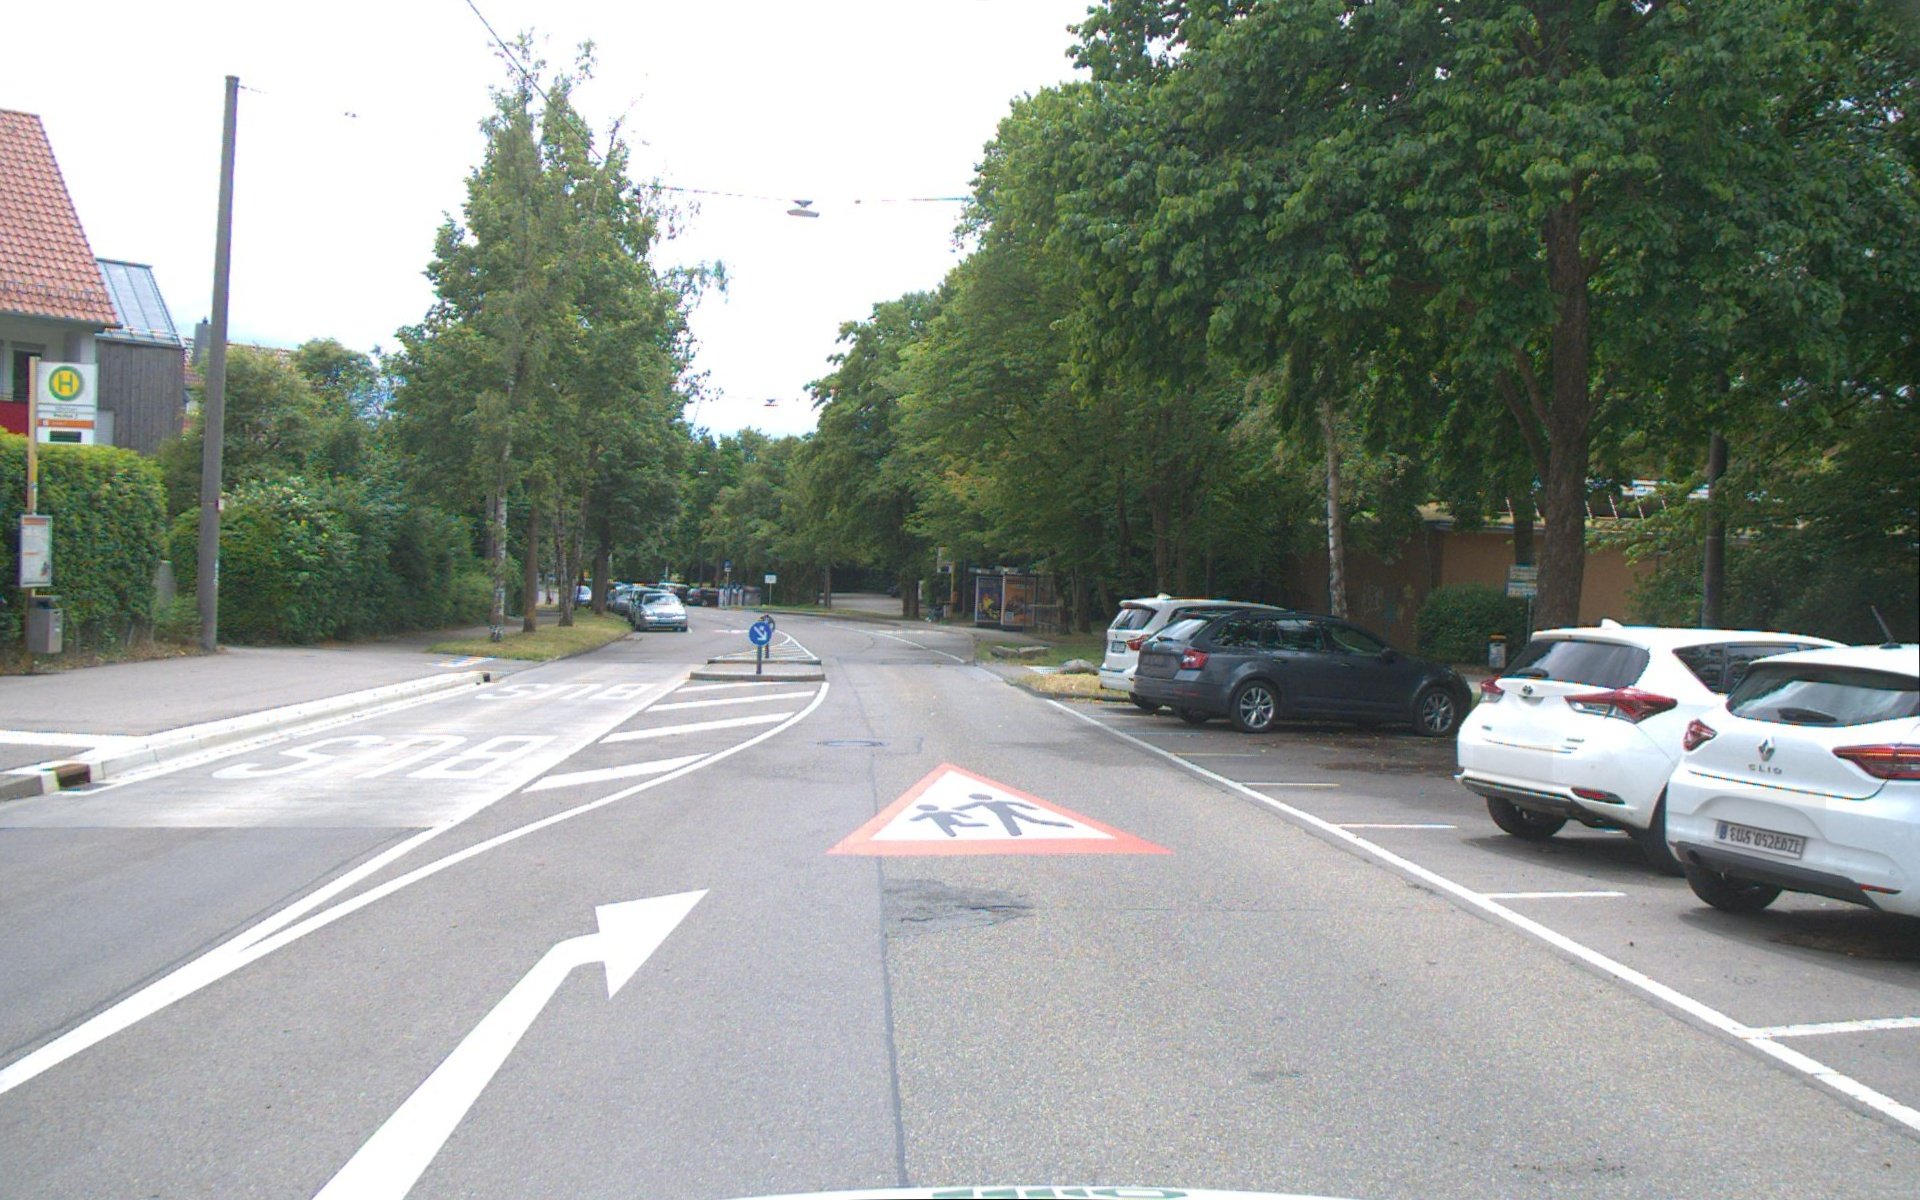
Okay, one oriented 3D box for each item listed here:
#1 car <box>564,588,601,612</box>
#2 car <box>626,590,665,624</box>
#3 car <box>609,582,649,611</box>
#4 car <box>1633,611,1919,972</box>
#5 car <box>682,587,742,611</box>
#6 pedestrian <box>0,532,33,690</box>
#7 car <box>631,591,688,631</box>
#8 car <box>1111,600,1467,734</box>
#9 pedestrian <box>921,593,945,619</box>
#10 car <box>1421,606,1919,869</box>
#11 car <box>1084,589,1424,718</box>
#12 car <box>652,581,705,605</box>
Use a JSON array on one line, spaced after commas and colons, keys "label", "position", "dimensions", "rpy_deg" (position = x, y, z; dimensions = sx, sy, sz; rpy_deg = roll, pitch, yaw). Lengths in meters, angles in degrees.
[{"label": "car", "position": [-26.609, -0.023, 116.484], "dimensions": [1.780, 1.590, 4.237], "rpy_deg": [-3, 1, -23]}, {"label": "car", "position": [-15.308, 0.337, 80.447], "dimensions": [1.706, 1.606, 4.127], "rpy_deg": [0, 0, -13]}, {"label": "car", "position": [-18.314, -0.197, 91.444], "dimensions": [1.836, 1.565, 4.208], "rpy_deg": [1, 0, -16]}, {"label": "car", "position": [5.674, 0.903, 8.411], "dimensions": [3.924, 1.489, 1.787], "rpy_deg": [3, -1, -18]}, {"label": "car", "position": [-18.683, -0.083, 124.588], "dimensions": [3.969, 1.438, 2.025], "rpy_deg": [4, 0, -44]}, {"label": "pedestrian", "position": [-10.930, 0.114, 18.543], "dimensions": [0.679, 1.740, 0.776], "rpy_deg": [2, 0, -11]}, {"label": "car", "position": [-11.492, 0.387, 63.025], "dimensions": [1.708, 1.441, 4.452], "rpy_deg": [0, 0, -16]}, {"label": "car", "position": [4.168, 0.845, 21.068], "dimensions": [4.068, 1.489, 1.789], "rpy_deg": [3, -1, -18]}, {"label": "pedestrian", "position": [-1.287, 0.283, 78.362], "dimensions": [1.046, 1.203, 0.577], "rpy_deg": [1, 0, -16]}, {"label": "car", "position": [5.313, 0.888, 11.058], "dimensions": [3.927, 1.489, 1.856], "rpy_deg": [3, -1, -20]}, {"label": "car", "position": [4.190, 0.757, 23.795], "dimensions": [4.392, 1.613, 1.900], "rpy_deg": [3, -1, -14]}, {"label": "car", "position": [-22.912, -0.575, 134.708], "dimensions": [3.801, 1.750, 1.848], "rpy_deg": [4, -2, -44]}]
